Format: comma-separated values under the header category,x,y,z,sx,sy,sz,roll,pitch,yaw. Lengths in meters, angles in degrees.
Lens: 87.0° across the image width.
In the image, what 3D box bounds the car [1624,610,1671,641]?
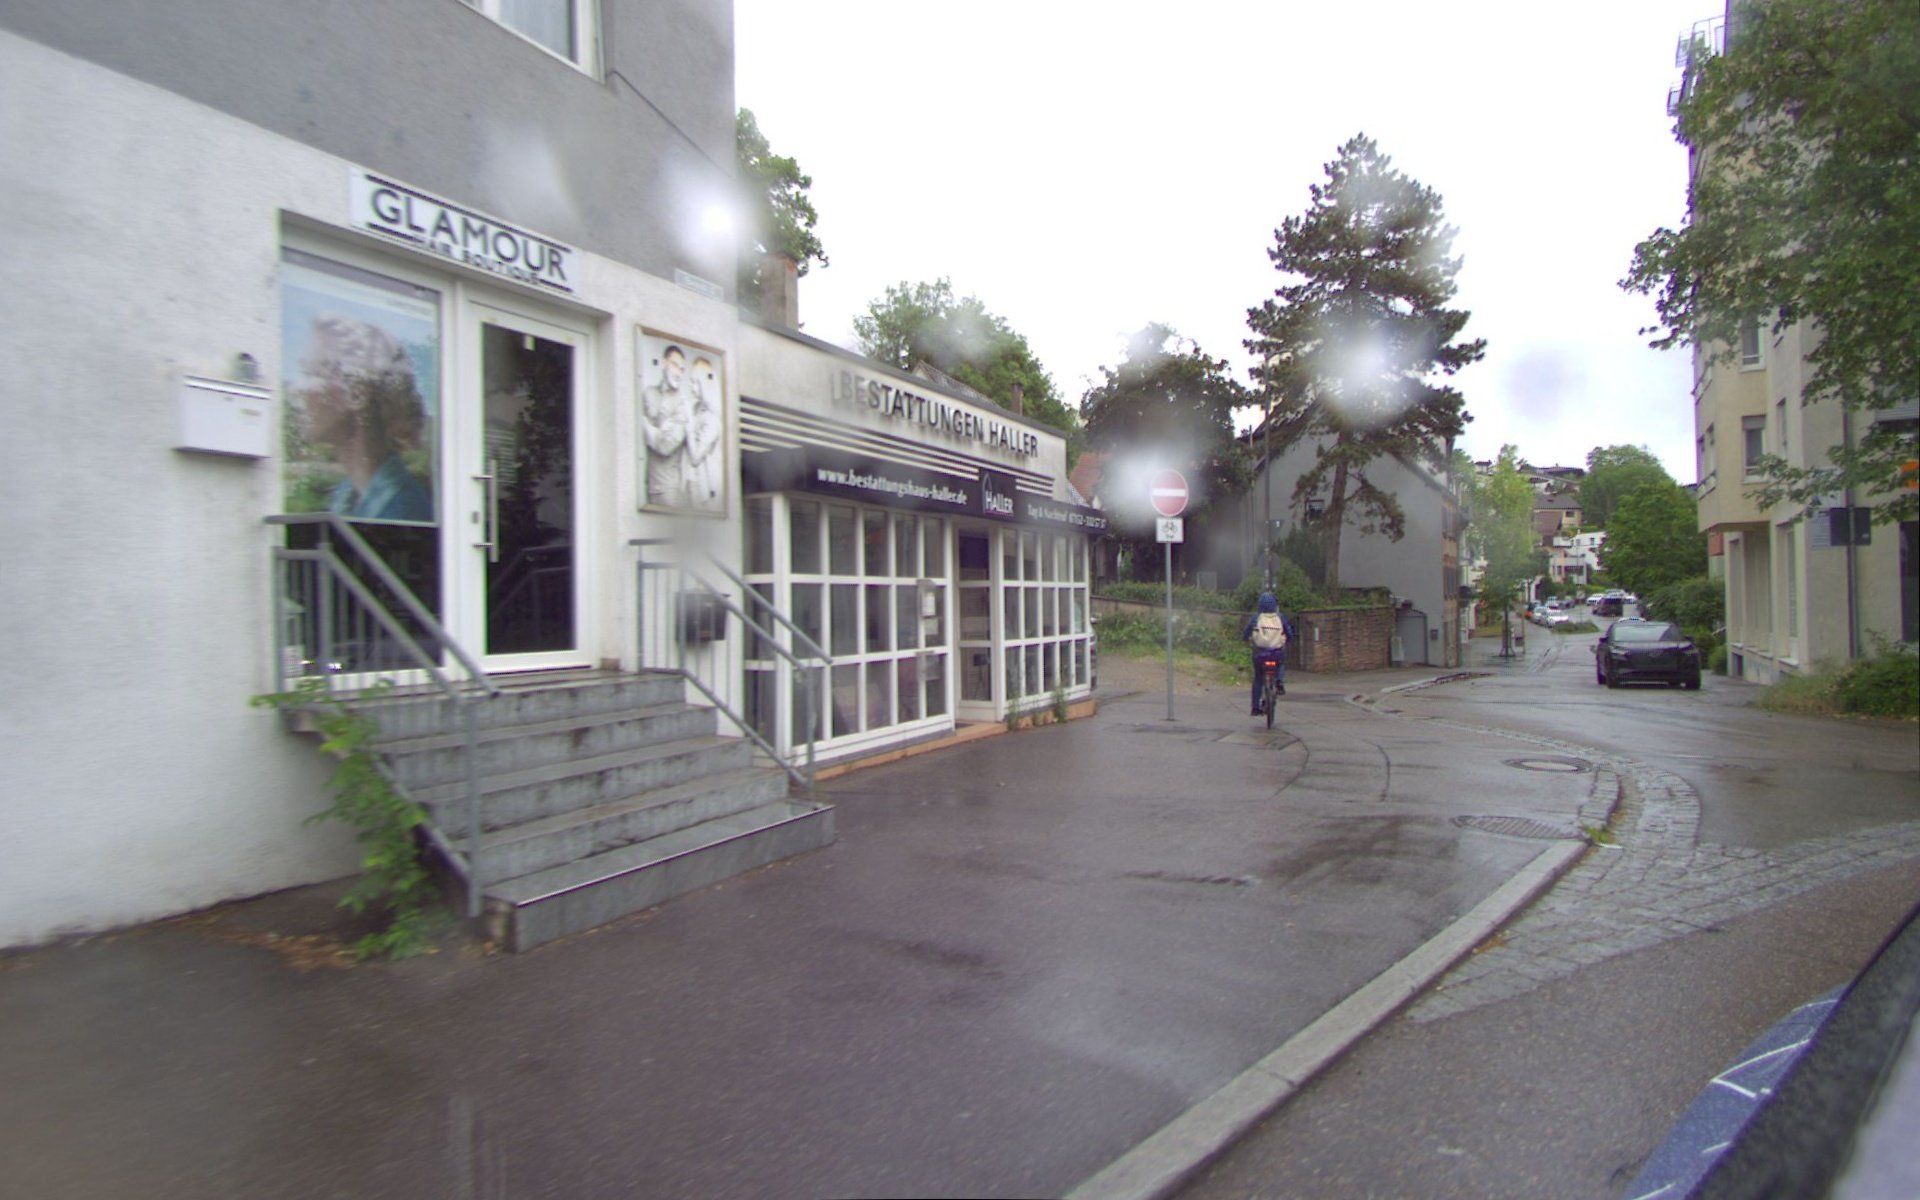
category,x,y,z,sx,sy,sz,roll,pitch,yaw
car,36.906,1.334,54.401,1.986,1.594,3.951,-1,-1,34

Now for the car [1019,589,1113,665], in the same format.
category,x,y,z,sx,sy,sz,roll,pitch,yaw
car,2.463,0.583,24.374,1.799,1.492,4.001,2,2,0

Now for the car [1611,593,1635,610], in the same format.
category,x,y,z,sx,sy,sz,roll,pitch,yaw
car,68.007,0.139,103.843,1.985,1.593,3.952,0,-2,33

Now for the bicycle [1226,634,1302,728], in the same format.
category,x,y,z,sx,sy,sz,roll,pitch,yaw
bicycle,3.781,0.960,12.501,0.754,1.048,2.065,0,-3,21

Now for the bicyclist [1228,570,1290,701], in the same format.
category,x,y,z,sx,sy,sz,roll,pitch,yaw
bicyclist,3.684,0.424,12.442,0.677,1.537,1.023,0,-1,20

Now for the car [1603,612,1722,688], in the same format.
category,x,y,z,sx,sy,sz,roll,pitch,yaw
car,17.165,1.143,24.660,1.991,1.672,3.941,-1,-1,40

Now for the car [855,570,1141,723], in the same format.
category,x,y,z,sx,sy,sz,roll,pitch,yaw
car,0.601,0.639,16.086,3.964,1.793,1.981,7,2,27

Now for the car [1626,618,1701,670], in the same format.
category,x,y,z,sx,sy,sz,roll,pitch,yaw
car,23.690,1.454,34.207,1.986,1.594,3.951,0,-2,34
